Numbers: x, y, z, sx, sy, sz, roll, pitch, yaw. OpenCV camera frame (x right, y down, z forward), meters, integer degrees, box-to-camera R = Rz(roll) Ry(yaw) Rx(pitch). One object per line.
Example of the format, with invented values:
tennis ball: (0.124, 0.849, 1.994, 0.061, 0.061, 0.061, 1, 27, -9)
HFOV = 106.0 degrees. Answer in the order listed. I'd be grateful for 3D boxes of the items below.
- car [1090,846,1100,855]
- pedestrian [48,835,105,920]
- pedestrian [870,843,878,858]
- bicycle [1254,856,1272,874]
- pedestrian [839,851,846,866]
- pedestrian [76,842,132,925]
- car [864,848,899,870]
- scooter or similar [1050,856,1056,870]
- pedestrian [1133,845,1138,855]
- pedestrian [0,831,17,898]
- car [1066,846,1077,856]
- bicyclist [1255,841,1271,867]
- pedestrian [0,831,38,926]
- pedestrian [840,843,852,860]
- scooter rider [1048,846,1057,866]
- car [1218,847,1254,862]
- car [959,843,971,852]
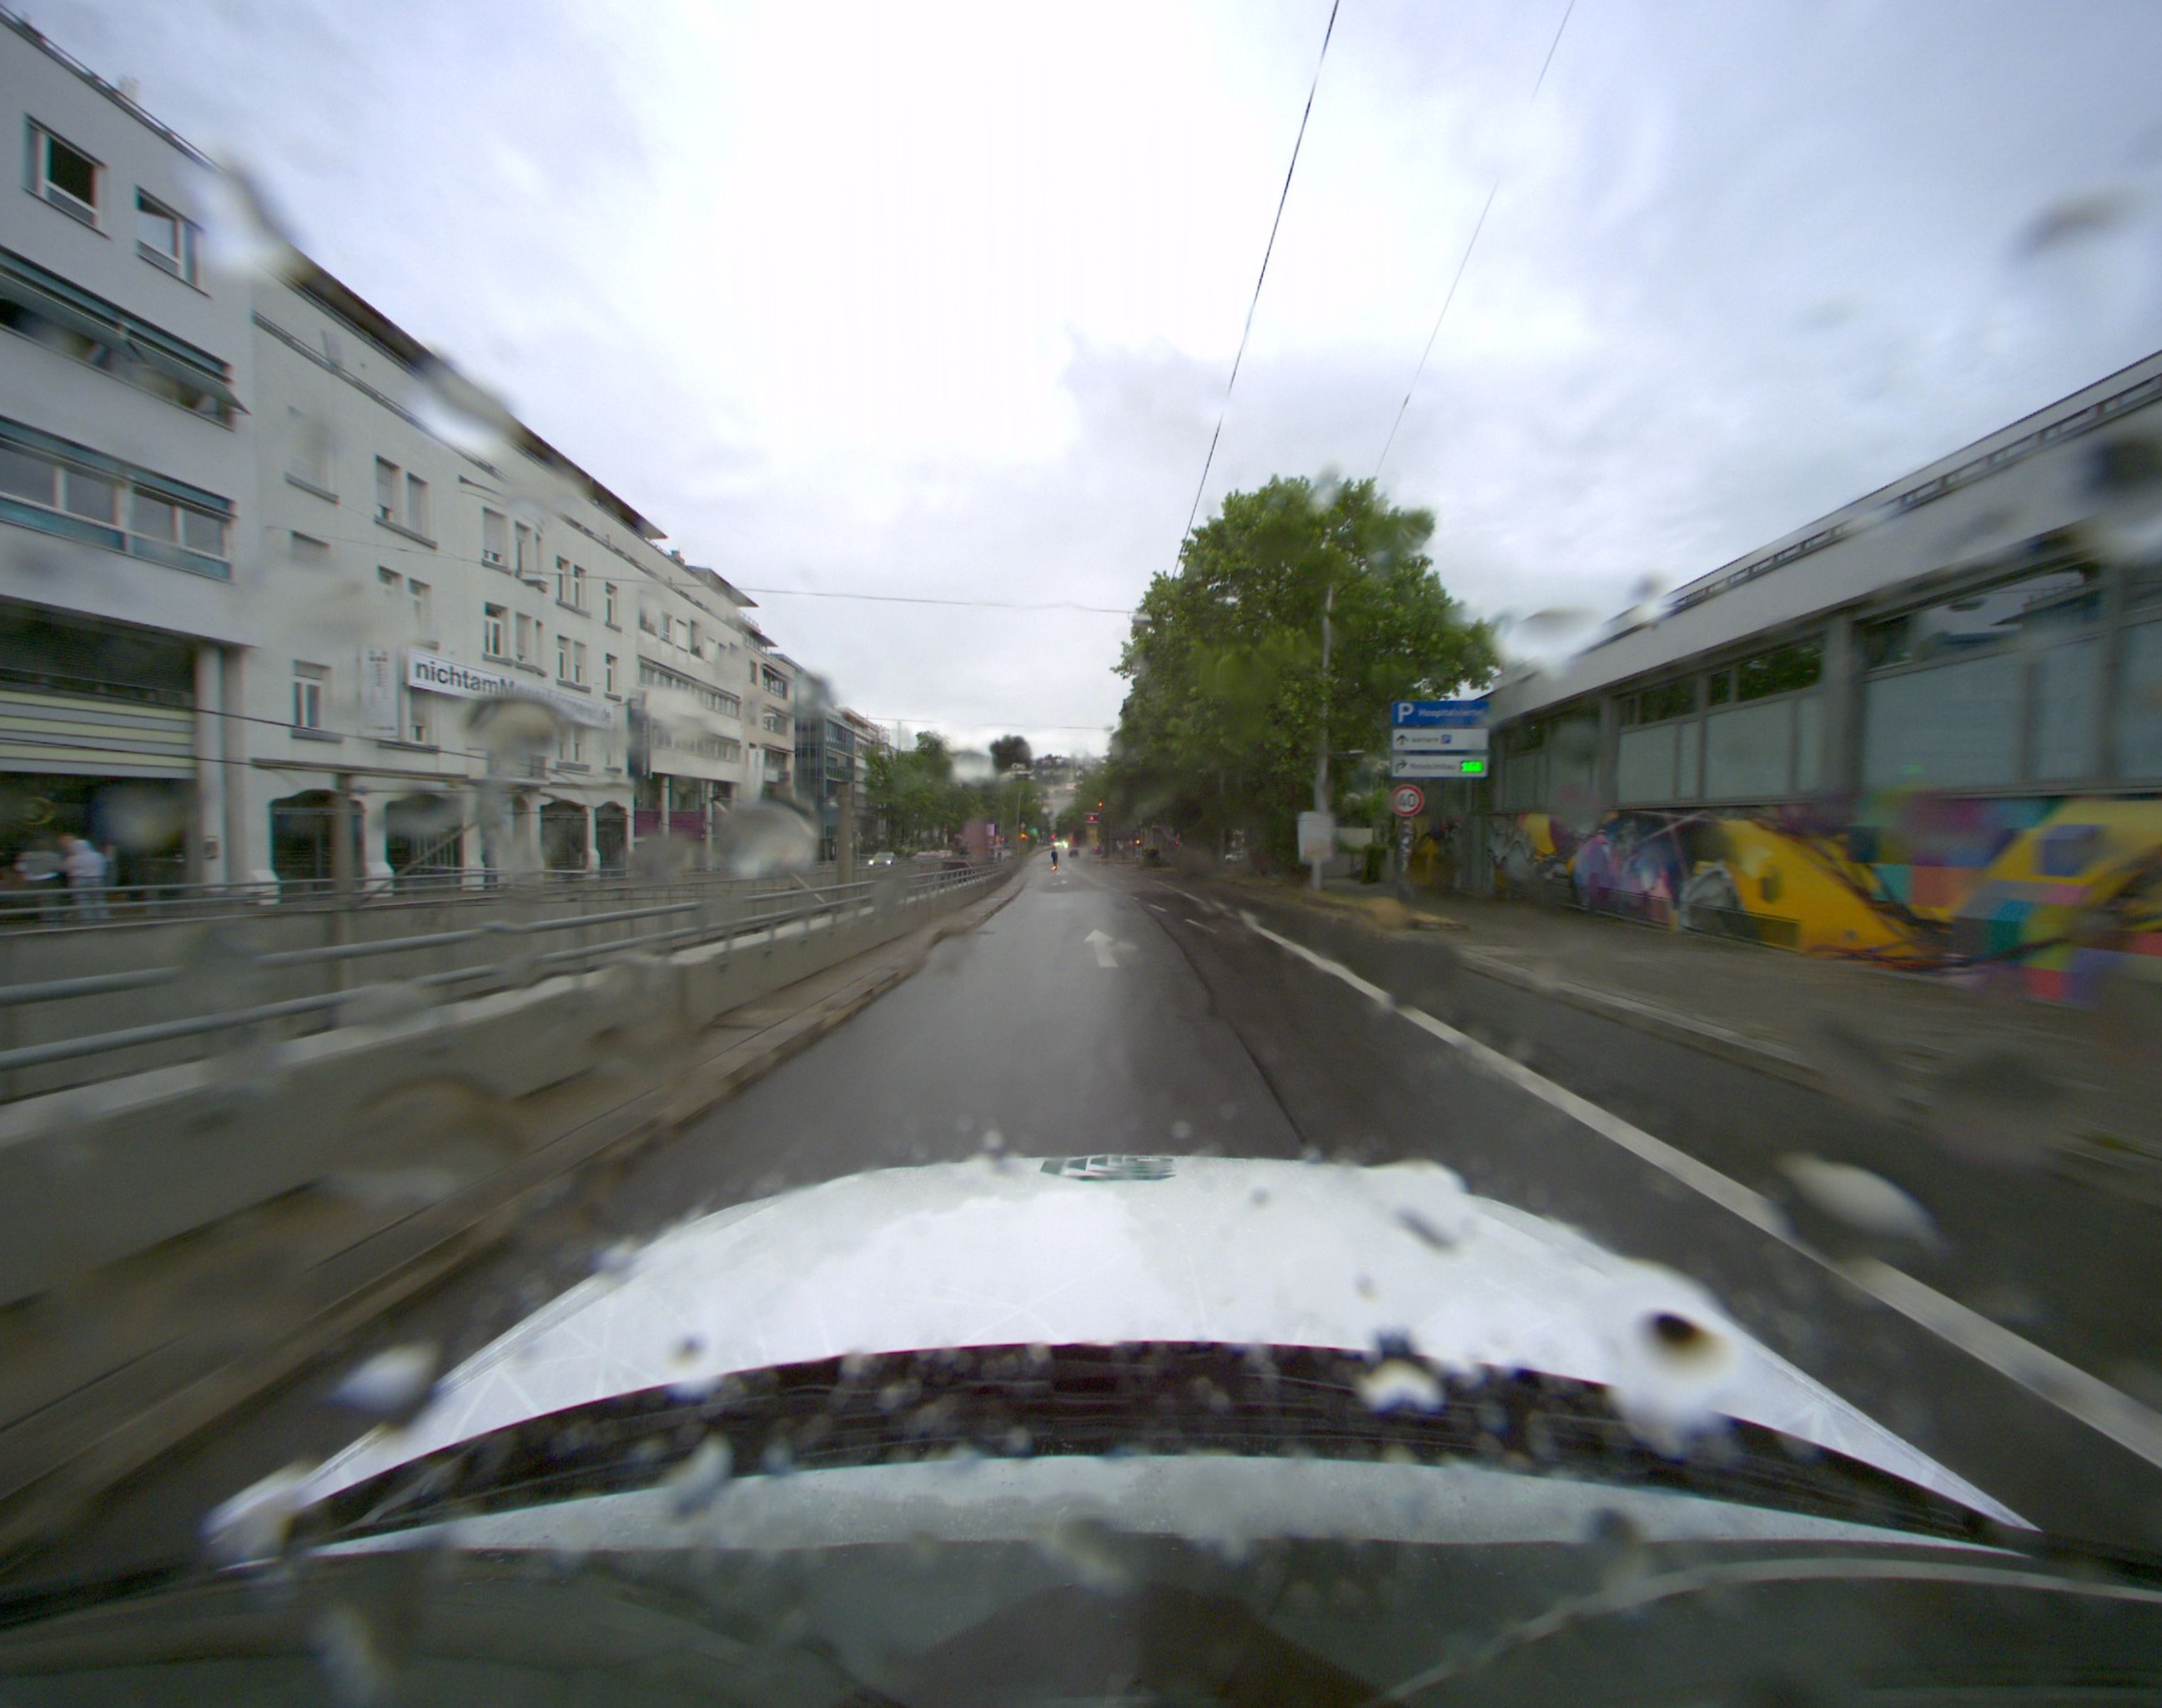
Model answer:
car: (2.731, -0.663, 154.726, 1.894, 1.684, 3.912, 1, 0, 1)
pedestrian: (-20.897, 0.465, 16.956, 0.677, 1.722, 0.602, 0, 1, -43)
pedestrian: (-27.447, -0.464, 108.151, 0.876, 1.868, 0.865, 1, 0, -6)
bicycle: (11.564, 0.693, 51.833, 0.803, 1.112, 2.200, 0, 0, 4)
pedestrian: (-25.928, 0.476, 88.527, 0.663, 1.671, 0.487, 0, 0, -4)
pedestrian: (-19.843, 0.575, 16.548, 0.785, 1.642, 0.677, 1, 1, 43)
car: (-16.297, 0.357, 66.859, 1.831, 1.713, 4.575, 0, 1, -1)
scooter or similar: (-2.780, 0.892, 81.407, 0.545, 1.418, 1.952, 1, 0, -4)
pedestrian: (8.760, -0.659, 130.547, 0.784, 1.557, 0.532, 1, 0, -1)
pedestrian: (-23.120, 0.217, 17.123, 0.605, 1.419, 0.674, 1, 1, 1)
car: (-1.574, -0.524, 135.038, 1.742, 1.519, 4.102, 1, 0, -3)
bicyclist: (11.556, 0.024, 51.731, 0.803, 1.628, 1.047, 0, 0, 4)
pedestrian: (-20.806, 0.454, 15.547, 0.673, 1.785, 0.936, 0, 1, -18)
pedestrian: (-27.094, -0.284, 93.943, 0.857, 1.868, 0.964, 1, 0, 15)
scooter rider: (-2.862, 0.187, 81.399, 0.806, 1.948, 0.821, 1, 0, -3)
car: (19.325, 0.069, 101.538, 4.368, 1.684, 1.736, 1, 0, -28)
car: (-21.764, -1.194, 153.079, 1.777, 1.555, 3.889, 1, 2, -4)
